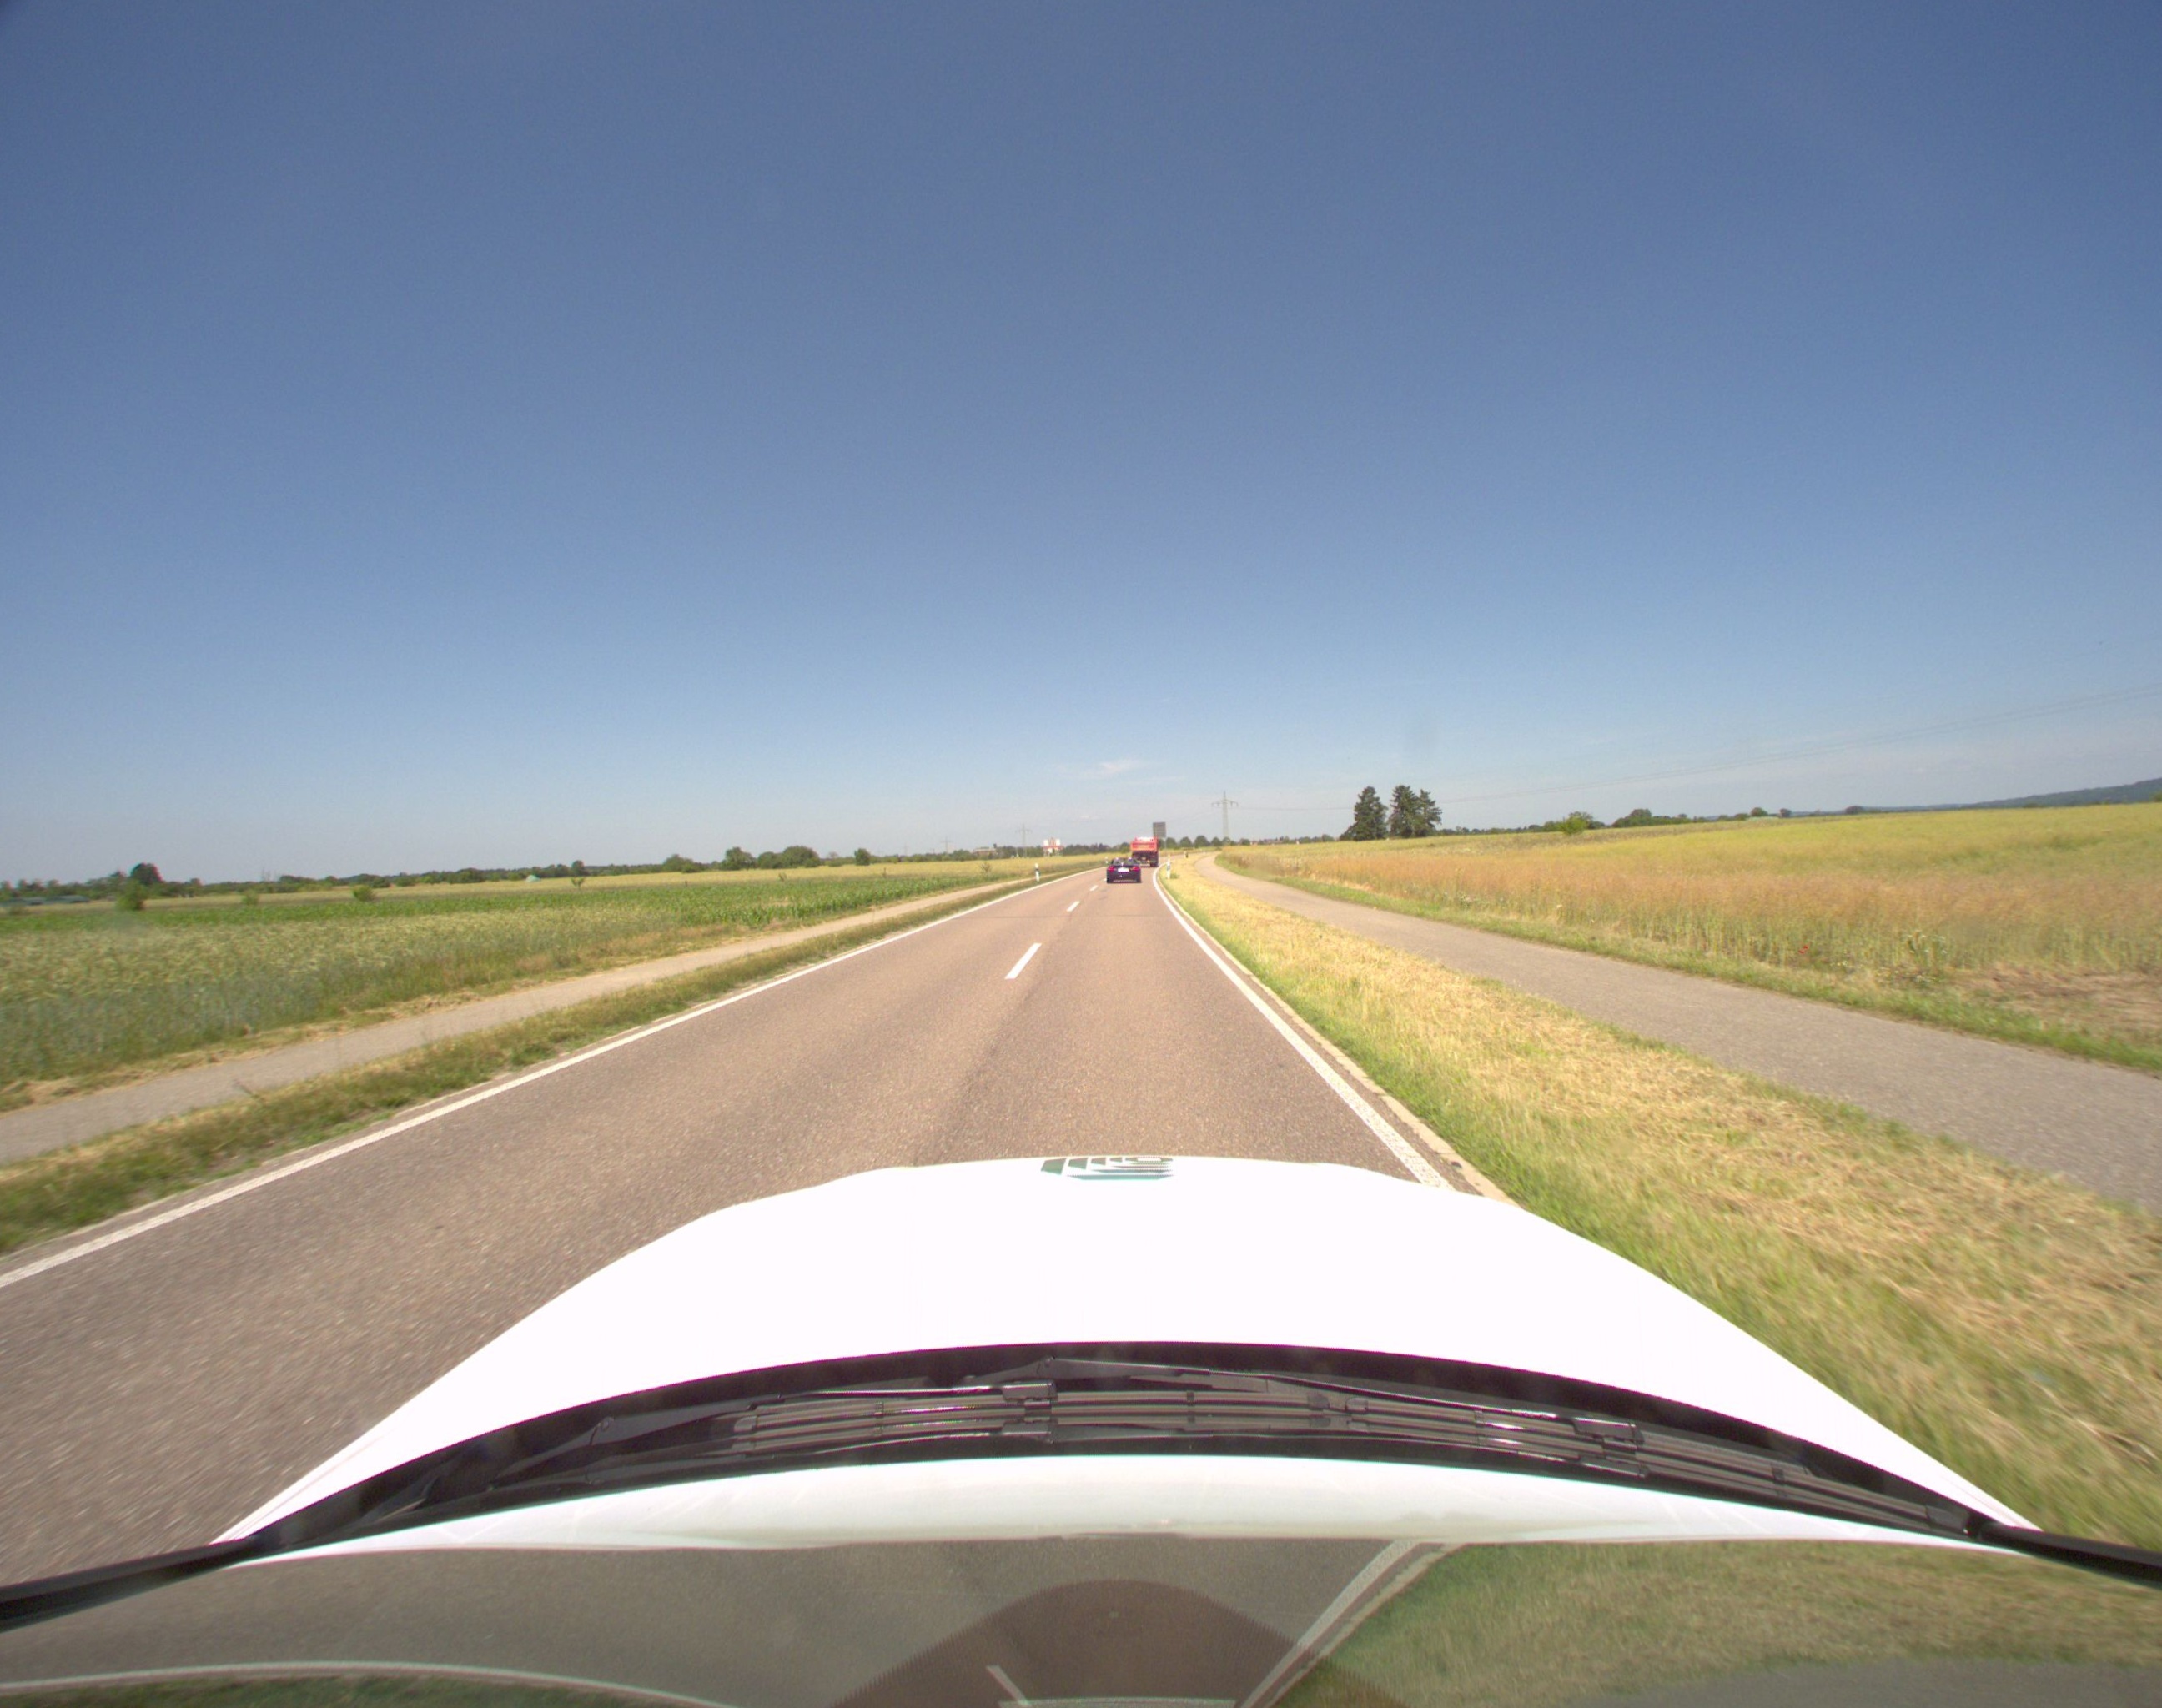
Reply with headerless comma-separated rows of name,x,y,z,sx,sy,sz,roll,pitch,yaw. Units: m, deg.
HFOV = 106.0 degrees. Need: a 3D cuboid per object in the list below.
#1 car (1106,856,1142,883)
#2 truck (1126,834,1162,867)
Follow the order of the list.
car,2.276,0.769,42.188,1.735,1.280,4.005,-1,0,5
truck,6.423,-0.336,82.094,2.921,3.089,7.213,-1,-1,9
